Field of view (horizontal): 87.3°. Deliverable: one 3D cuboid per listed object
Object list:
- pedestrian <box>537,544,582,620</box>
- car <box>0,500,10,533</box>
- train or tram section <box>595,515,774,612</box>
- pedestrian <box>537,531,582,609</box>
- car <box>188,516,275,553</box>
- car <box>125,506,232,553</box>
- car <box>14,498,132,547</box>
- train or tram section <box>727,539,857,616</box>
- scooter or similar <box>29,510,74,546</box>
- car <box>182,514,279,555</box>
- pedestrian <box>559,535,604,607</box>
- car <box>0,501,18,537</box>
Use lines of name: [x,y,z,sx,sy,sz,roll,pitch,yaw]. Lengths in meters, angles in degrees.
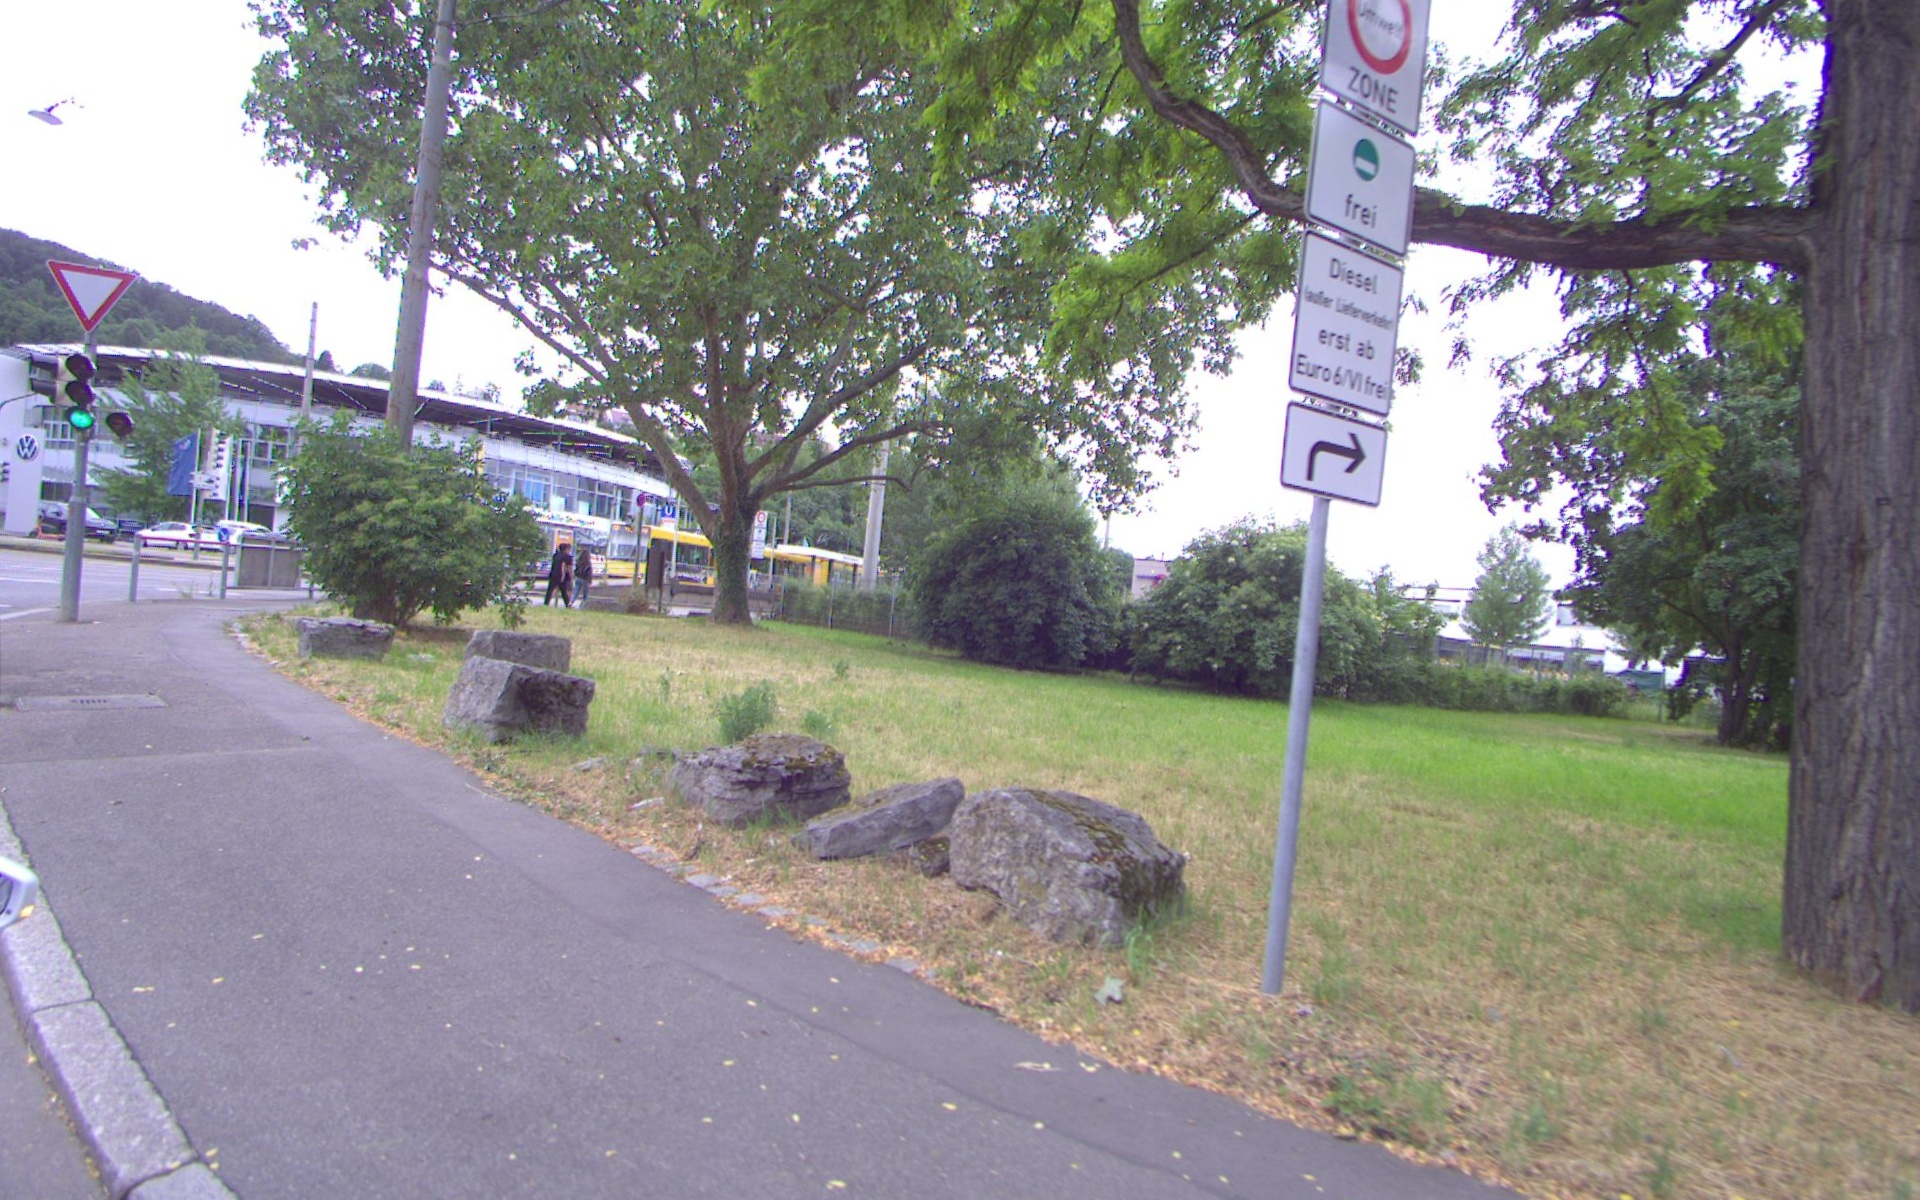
pedestrian: [-10.539,-0.465,26.474,0.593,1.887,0.673,6,-3,19]
car: [-53.907,-4.853,53.582,1.972,1.747,4.498,4,-5,39]
train or tram section: [-13.855,-1.641,52.272,2.698,4.016,11.910,6,0,17]
pedestrian: [-10.257,-0.763,25.777,0.593,1.890,0.672,6,0,19]
car: [-45.511,-4.084,62.869,3.924,1.571,1.931,7,-4,5]
car: [-38.594,-3.480,49.723,3.923,1.657,2.004,6,-4,13]
car: [-40.097,-3.490,45.499,3.923,1.659,2.002,6,-1,13]
train or tram section: [-10.286,-1.196,63.689,2.698,4.016,11.910,6,0,17]
scooter or similar: [-38.442,-3.044,42.564,0.567,1.302,1.202,5,-4,35]
car: [-37.726,-3.400,52.042,3.923,1.492,1.818,6,-4,13]
pedestrian: [-9.593,-0.722,25.507,0.593,1.708,0.673,6,-3,19]
car: [-59.100,-5.146,59.585,1.972,2.018,4.497,4,-5,40]
